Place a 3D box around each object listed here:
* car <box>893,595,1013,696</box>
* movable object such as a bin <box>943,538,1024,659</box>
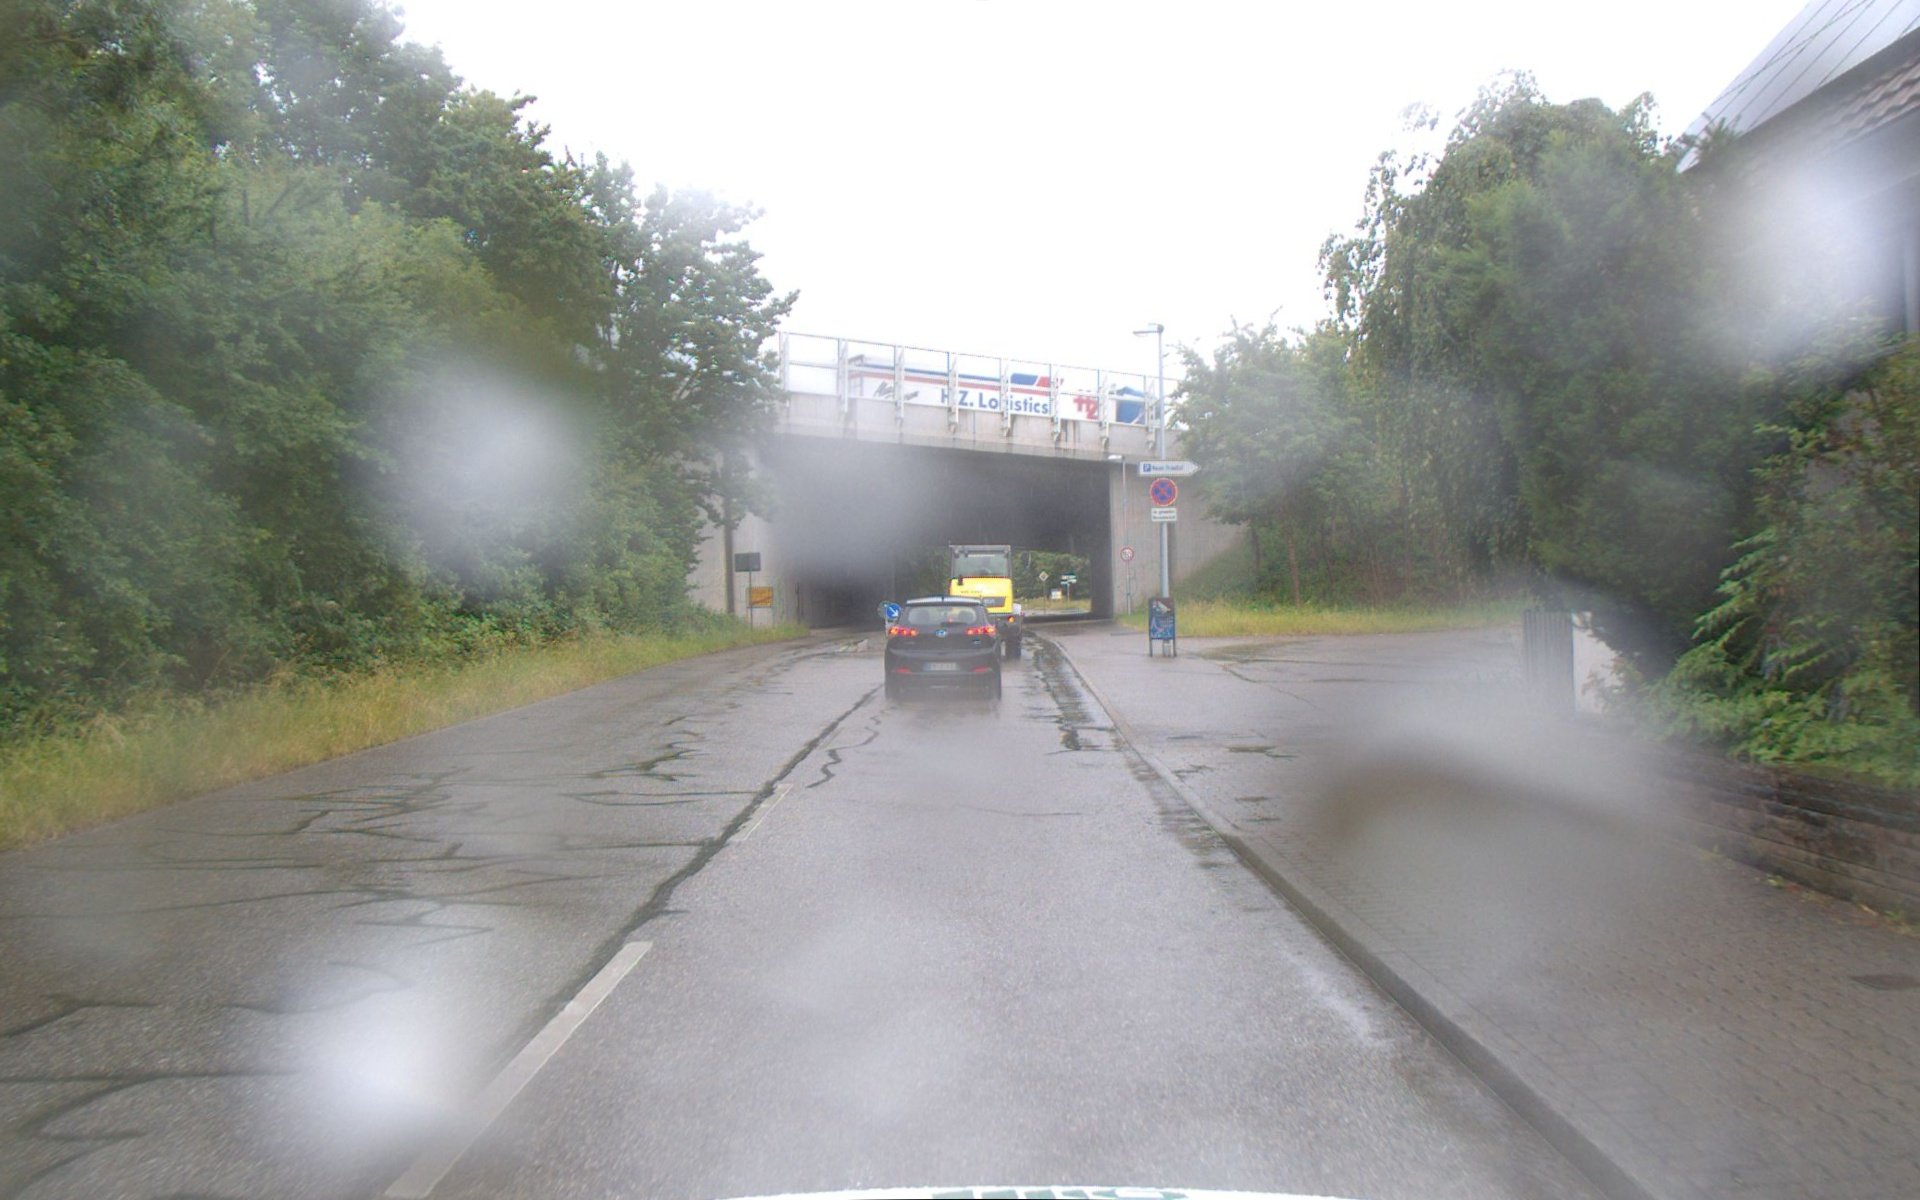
[{"bbox_3d":[-0.095,0.646,25.095,1.673,1.401,4.000,0,0,0],"label":"car"},{"bbox_3d":[0.495,-0.028,37.426,1.725,2.592,4.238,0,0,0],"label":"movable object such as a bin"}]
